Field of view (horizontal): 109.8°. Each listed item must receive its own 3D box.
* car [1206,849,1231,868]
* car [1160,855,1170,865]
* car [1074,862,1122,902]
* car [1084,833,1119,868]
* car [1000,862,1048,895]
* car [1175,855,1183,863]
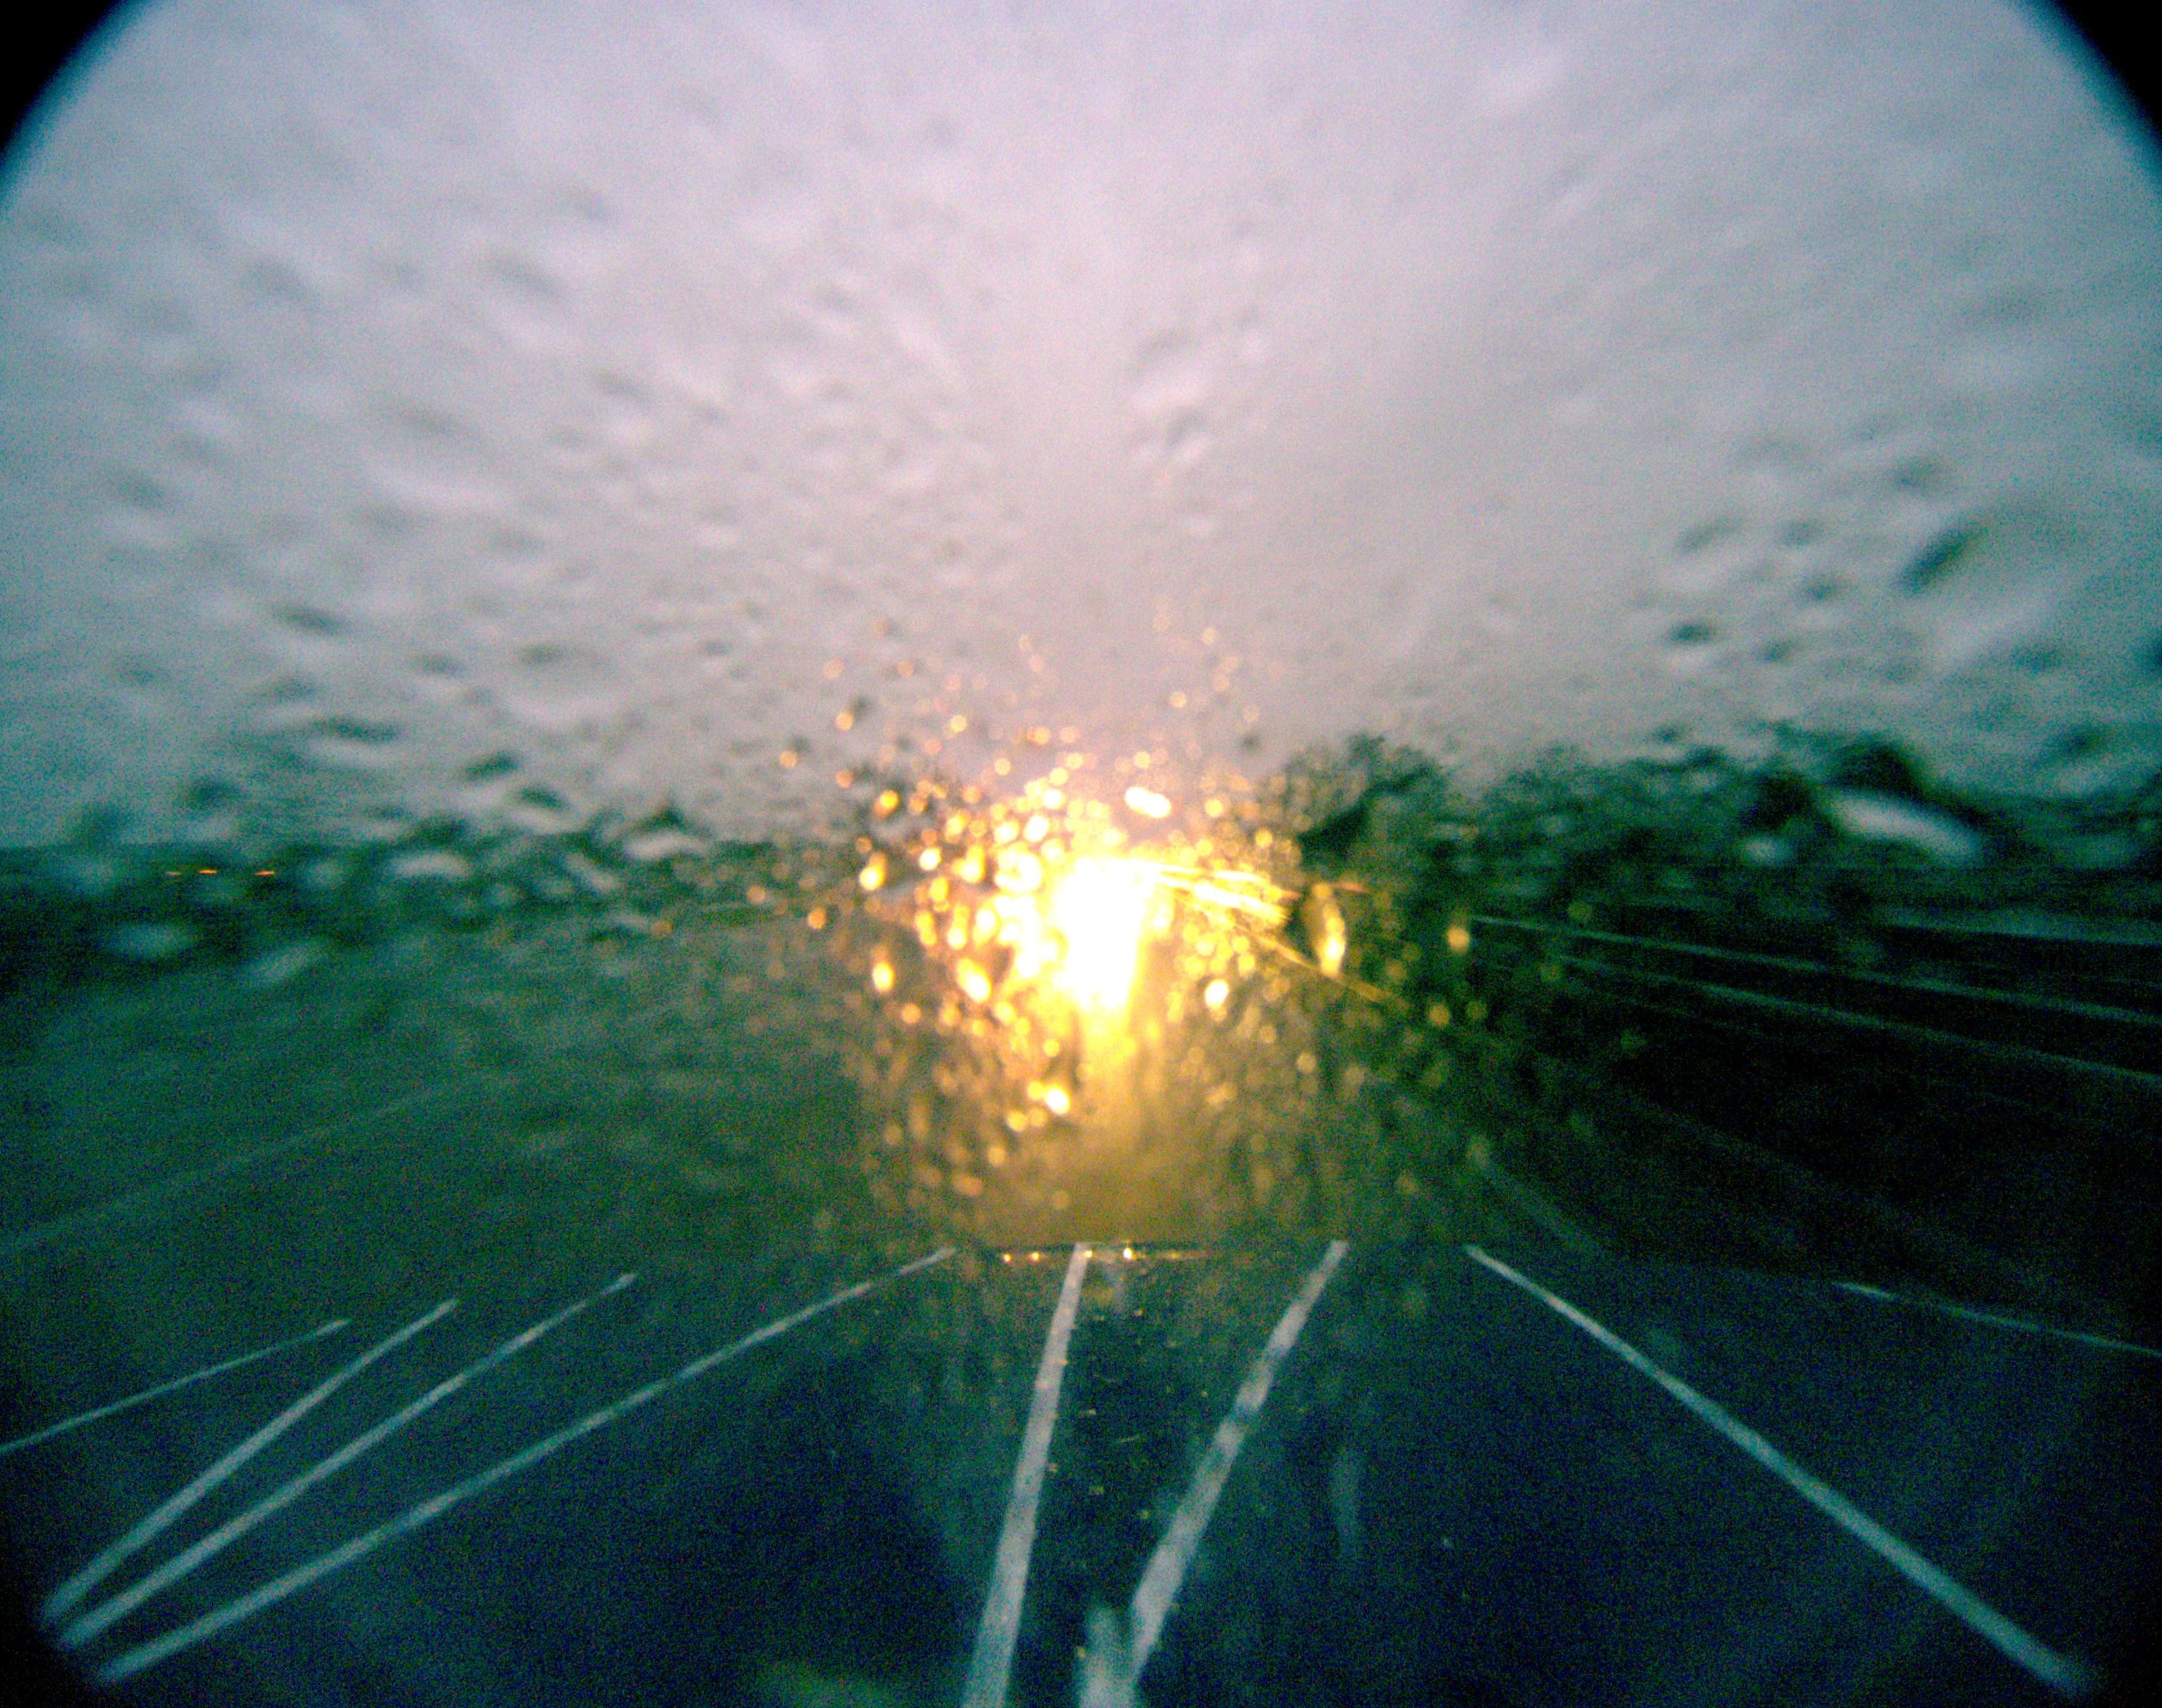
[{"bbox_3d":[14.266,0.448,79.120,1.900,1.773,4.705,-3,0,2],"label":"car"},{"bbox_3d":[15.673,1.127,142.400,1.744,1.630,4.001,-4,0,5],"label":"car"},{"bbox_3d":[0.744,1.127,32.294,1.850,1.521,4.149,-2,-1,2],"label":"car"},{"bbox_3d":[1.241,-0.225,47.577,1.999,2.002,4.000,-2,0,0],"label":"car"},{"bbox_3d":[-2.837,1.208,38.564,1.850,1.521,4.150,-2,-1,3],"label":"car"},{"bbox_3d":[23.428,1.205,181.848,1.749,1.823,4.136,-1,1,5],"label":"car"}]
